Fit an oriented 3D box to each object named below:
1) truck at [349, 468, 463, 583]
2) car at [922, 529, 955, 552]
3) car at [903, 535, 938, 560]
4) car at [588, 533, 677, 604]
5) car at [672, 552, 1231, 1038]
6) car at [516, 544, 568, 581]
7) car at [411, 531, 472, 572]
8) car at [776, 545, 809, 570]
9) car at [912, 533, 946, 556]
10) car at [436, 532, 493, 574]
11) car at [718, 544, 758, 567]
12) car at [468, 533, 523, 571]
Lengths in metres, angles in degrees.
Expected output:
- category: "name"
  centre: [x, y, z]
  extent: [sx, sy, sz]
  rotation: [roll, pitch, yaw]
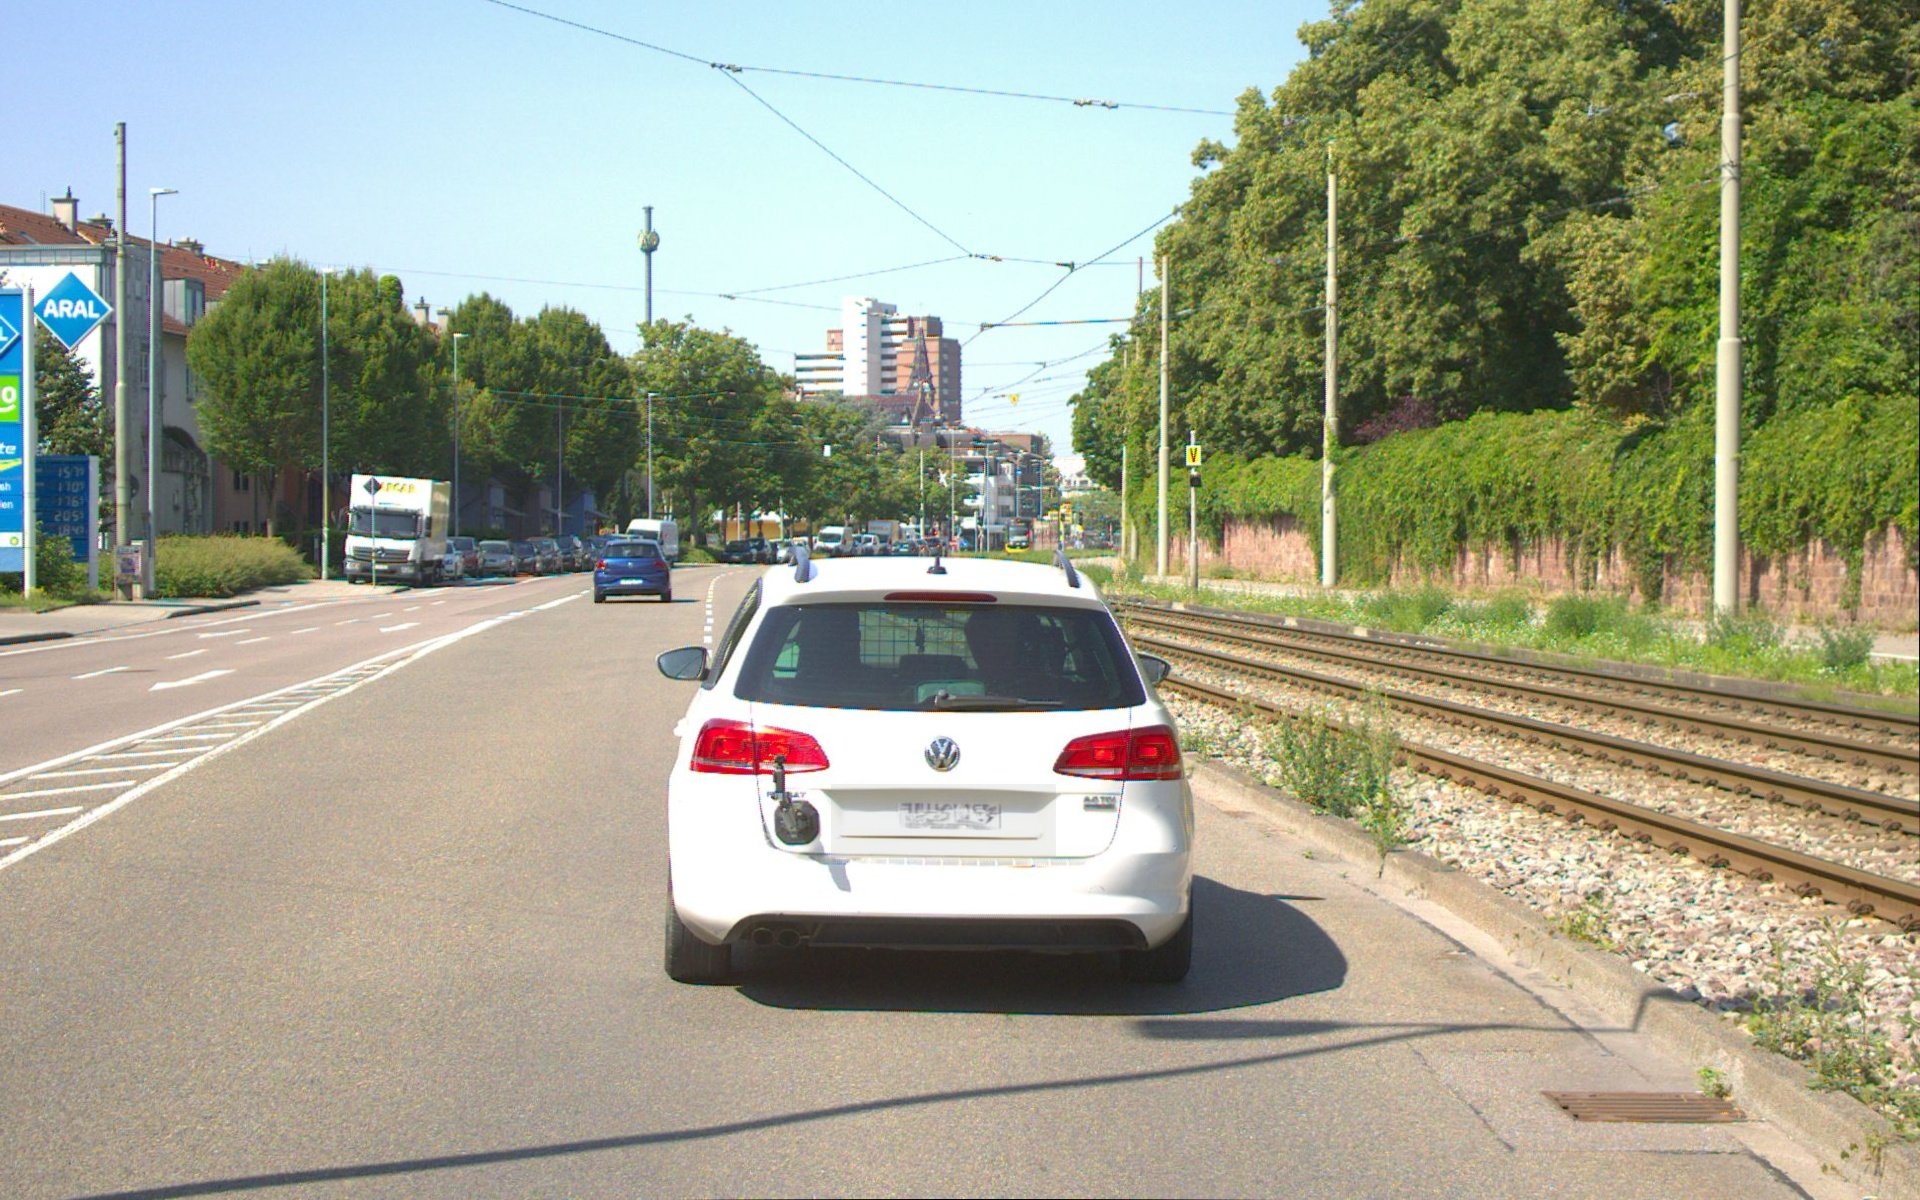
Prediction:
- category: "truck"
  centre: [-18.000, -2.406, 112.118]
  extent: [2.666, 3.518, 8.592]
  rotation: [2, 1, -3]
- category: "car"
  centre: [-1.415, -3.907, 226.694]
  extent: [1.801, 1.455, 3.999]
  rotation: [0, 1, 4]
- category: "car"
  centre: [-2.417, -3.259, 212.661]
  extent: [1.801, 1.502, 4.000]
  rotation: [1, 1, 4]
- category: "car"
  centre: [-7.436, -0.743, 78.407]
  extent: [1.800, 1.502, 4.001]
  rotation: [1, 2, -2]
- category: "car"
  centre: [-0.155, 0.571, 12.775]
  extent: [1.691, 1.446, 4.459]
  rotation: [1, 1, -3]
- category: "car"
  centre: [-18.905, -1.709, 155.525]
  extent: [1.717, 1.619, 4.312]
  rotation: [2, 1, 1]
- category: "car"
  centre: [-18.777, -1.773, 124.648]
  extent: [1.757, 1.424, 4.282]
  rotation: [1, 1, -3]
- category: "car"
  centre: [-10.029, -2.564, 206.107]
  extent: [1.659, 1.415, 4.310]
  rotation: [-2, 1, 2]
- category: "car"
  centre: [-1.966, -3.527, 218.302]
  extent: [1.801, 1.455, 4.000]
  rotation: [1, 1, 4]
- category: "car"
  centre: [-19.040, -1.815, 132.217]
  extent: [1.730, 1.546, 4.319]
  rotation: [1, 1, -2]
- category: "car"
  centre: [-13.942, -2.770, 215.861]
  extent: [1.700, 1.412, 3.999]
  rotation: [0, 1, 8]
- category: "car"
  centre: [-19.286, -1.974, 142.863]
  extent: [1.780, 1.478, 4.858]
  rotation: [1, 0, -2]
